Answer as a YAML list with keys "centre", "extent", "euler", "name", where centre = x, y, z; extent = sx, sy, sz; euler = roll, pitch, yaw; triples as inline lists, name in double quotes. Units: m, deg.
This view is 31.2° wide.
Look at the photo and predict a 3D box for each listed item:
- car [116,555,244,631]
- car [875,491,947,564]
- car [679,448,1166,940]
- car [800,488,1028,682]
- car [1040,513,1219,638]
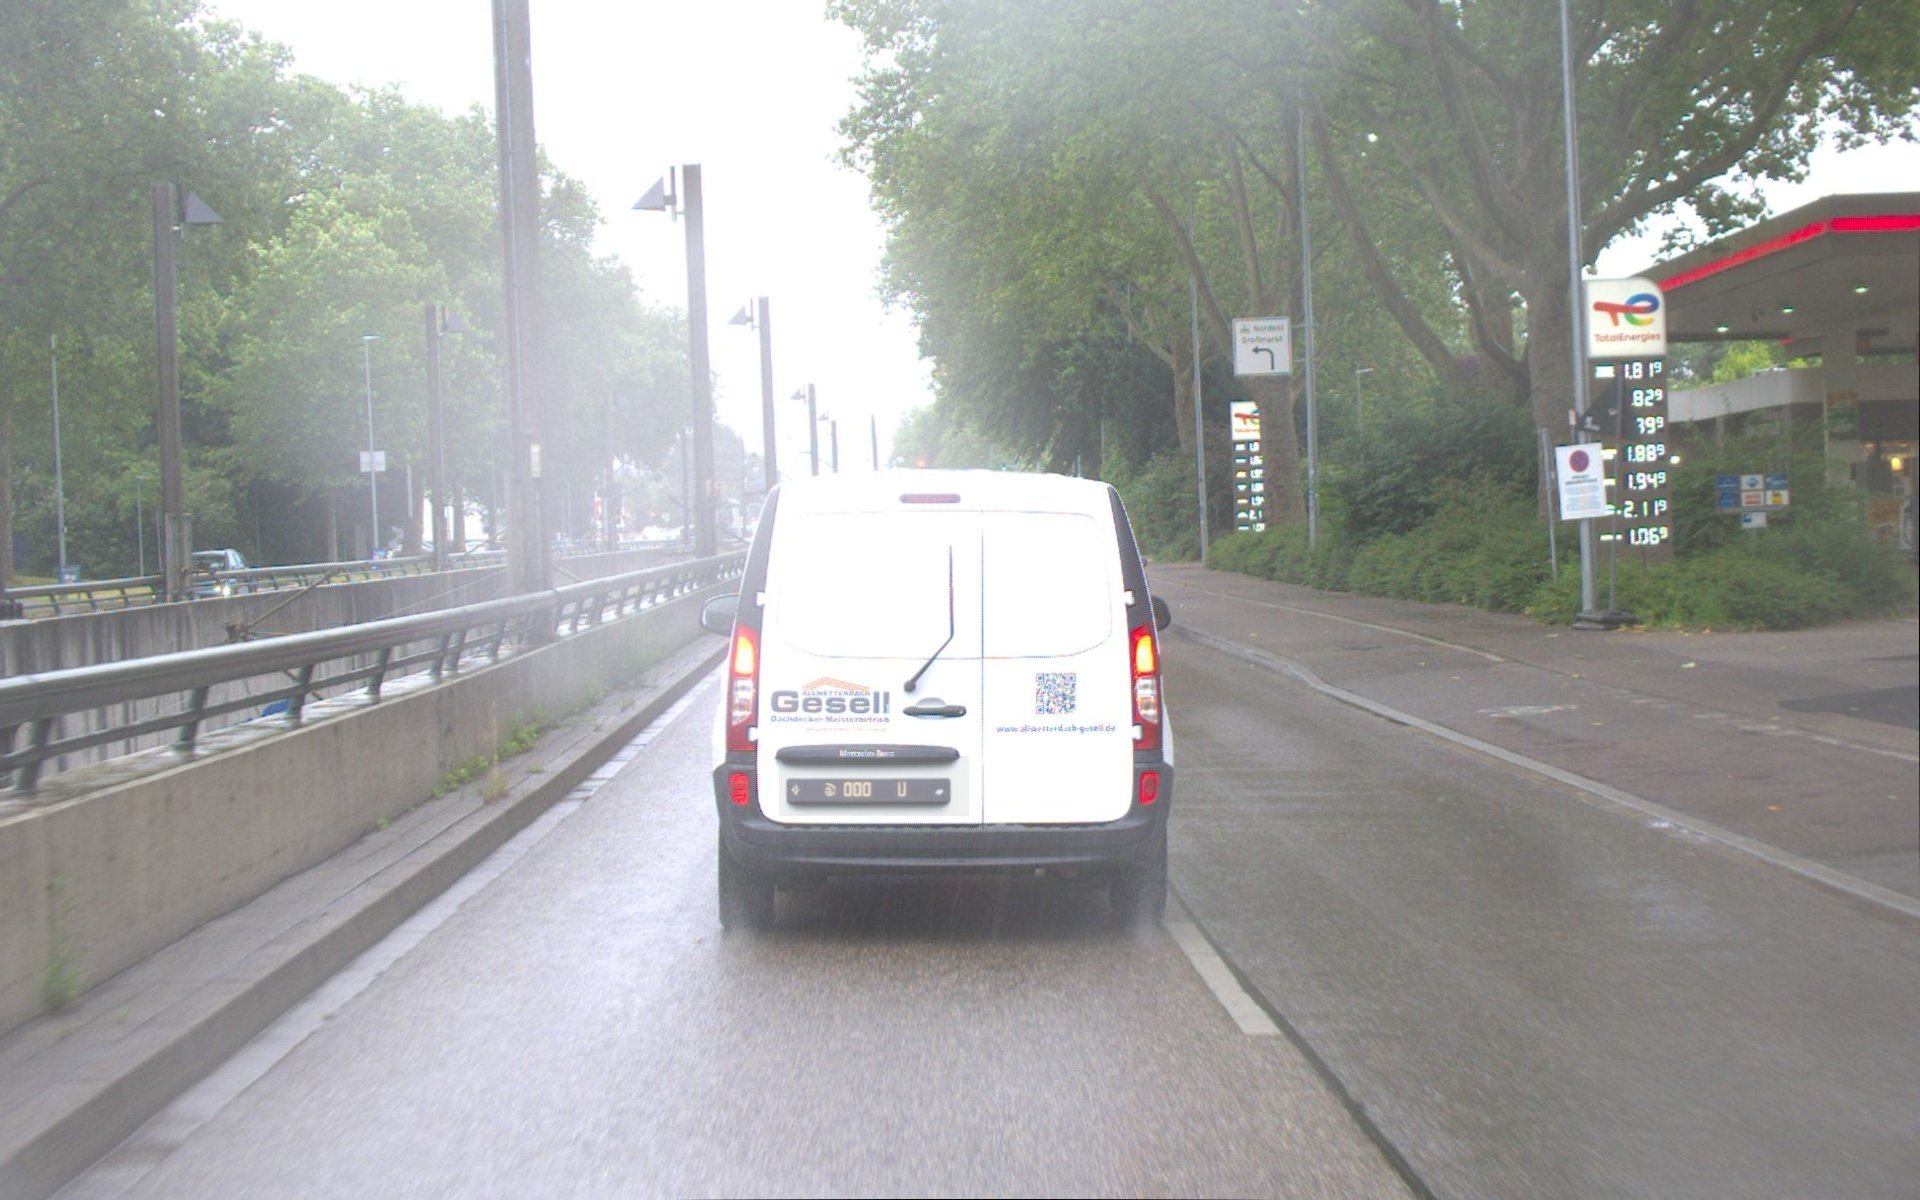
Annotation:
- centre: [-17.619, -0.181, 77.826]
  extent: [1.907, 1.565, 4.000]
  euler: [-2, 1, 1]
  name: "car"
- centre: [-1.476, -2.187, 104.674]
  extent: [2.048, 2.133, 4.000]
  euler: [-2, 1, 0]
  name: "car"
- centre: [-0.219, 0.307, 14.444]
  extent: [1.755, 1.771, 4.001]
  euler: [0, 1, -2]
  name: "car"
- centre: [-0.443, -0.155, 31.825]
  extent: [1.917, 1.603, 4.000]
  euler: [-2, 1, -1]
  name: "car"
- centre: [2.323, -0.349, 48.133]
  extent: [1.993, 1.579, 4.001]
  euler: [-3, 1, -4]
  name: "car"
